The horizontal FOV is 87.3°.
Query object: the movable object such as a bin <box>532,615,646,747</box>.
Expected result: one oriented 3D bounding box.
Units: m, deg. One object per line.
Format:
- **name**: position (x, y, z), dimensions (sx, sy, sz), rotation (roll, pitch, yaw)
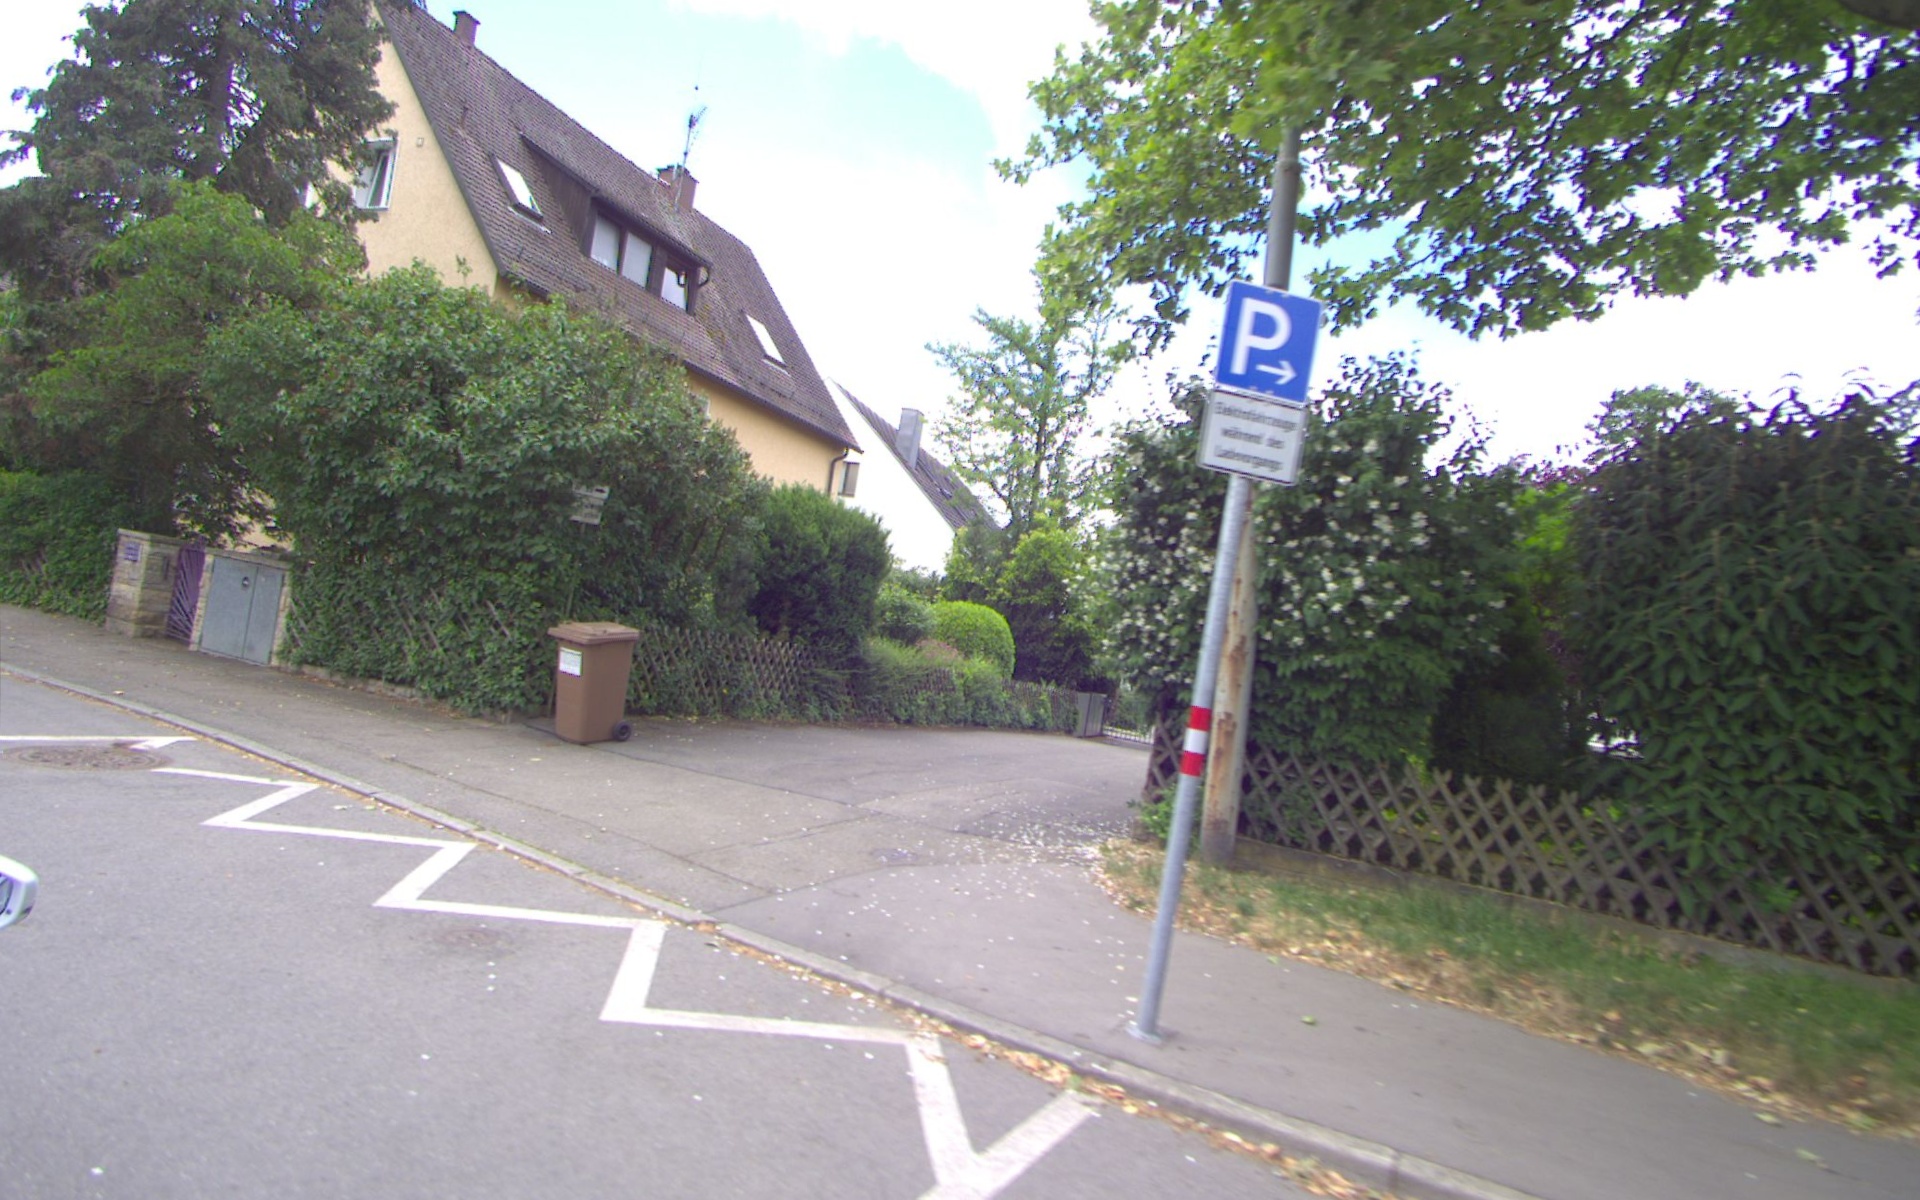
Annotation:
- **movable object such as a bin**: position (-3.397, 0.747, 9.231), dimensions (0.559, 1.080, 0.605), rotation (6, -5, 35)
